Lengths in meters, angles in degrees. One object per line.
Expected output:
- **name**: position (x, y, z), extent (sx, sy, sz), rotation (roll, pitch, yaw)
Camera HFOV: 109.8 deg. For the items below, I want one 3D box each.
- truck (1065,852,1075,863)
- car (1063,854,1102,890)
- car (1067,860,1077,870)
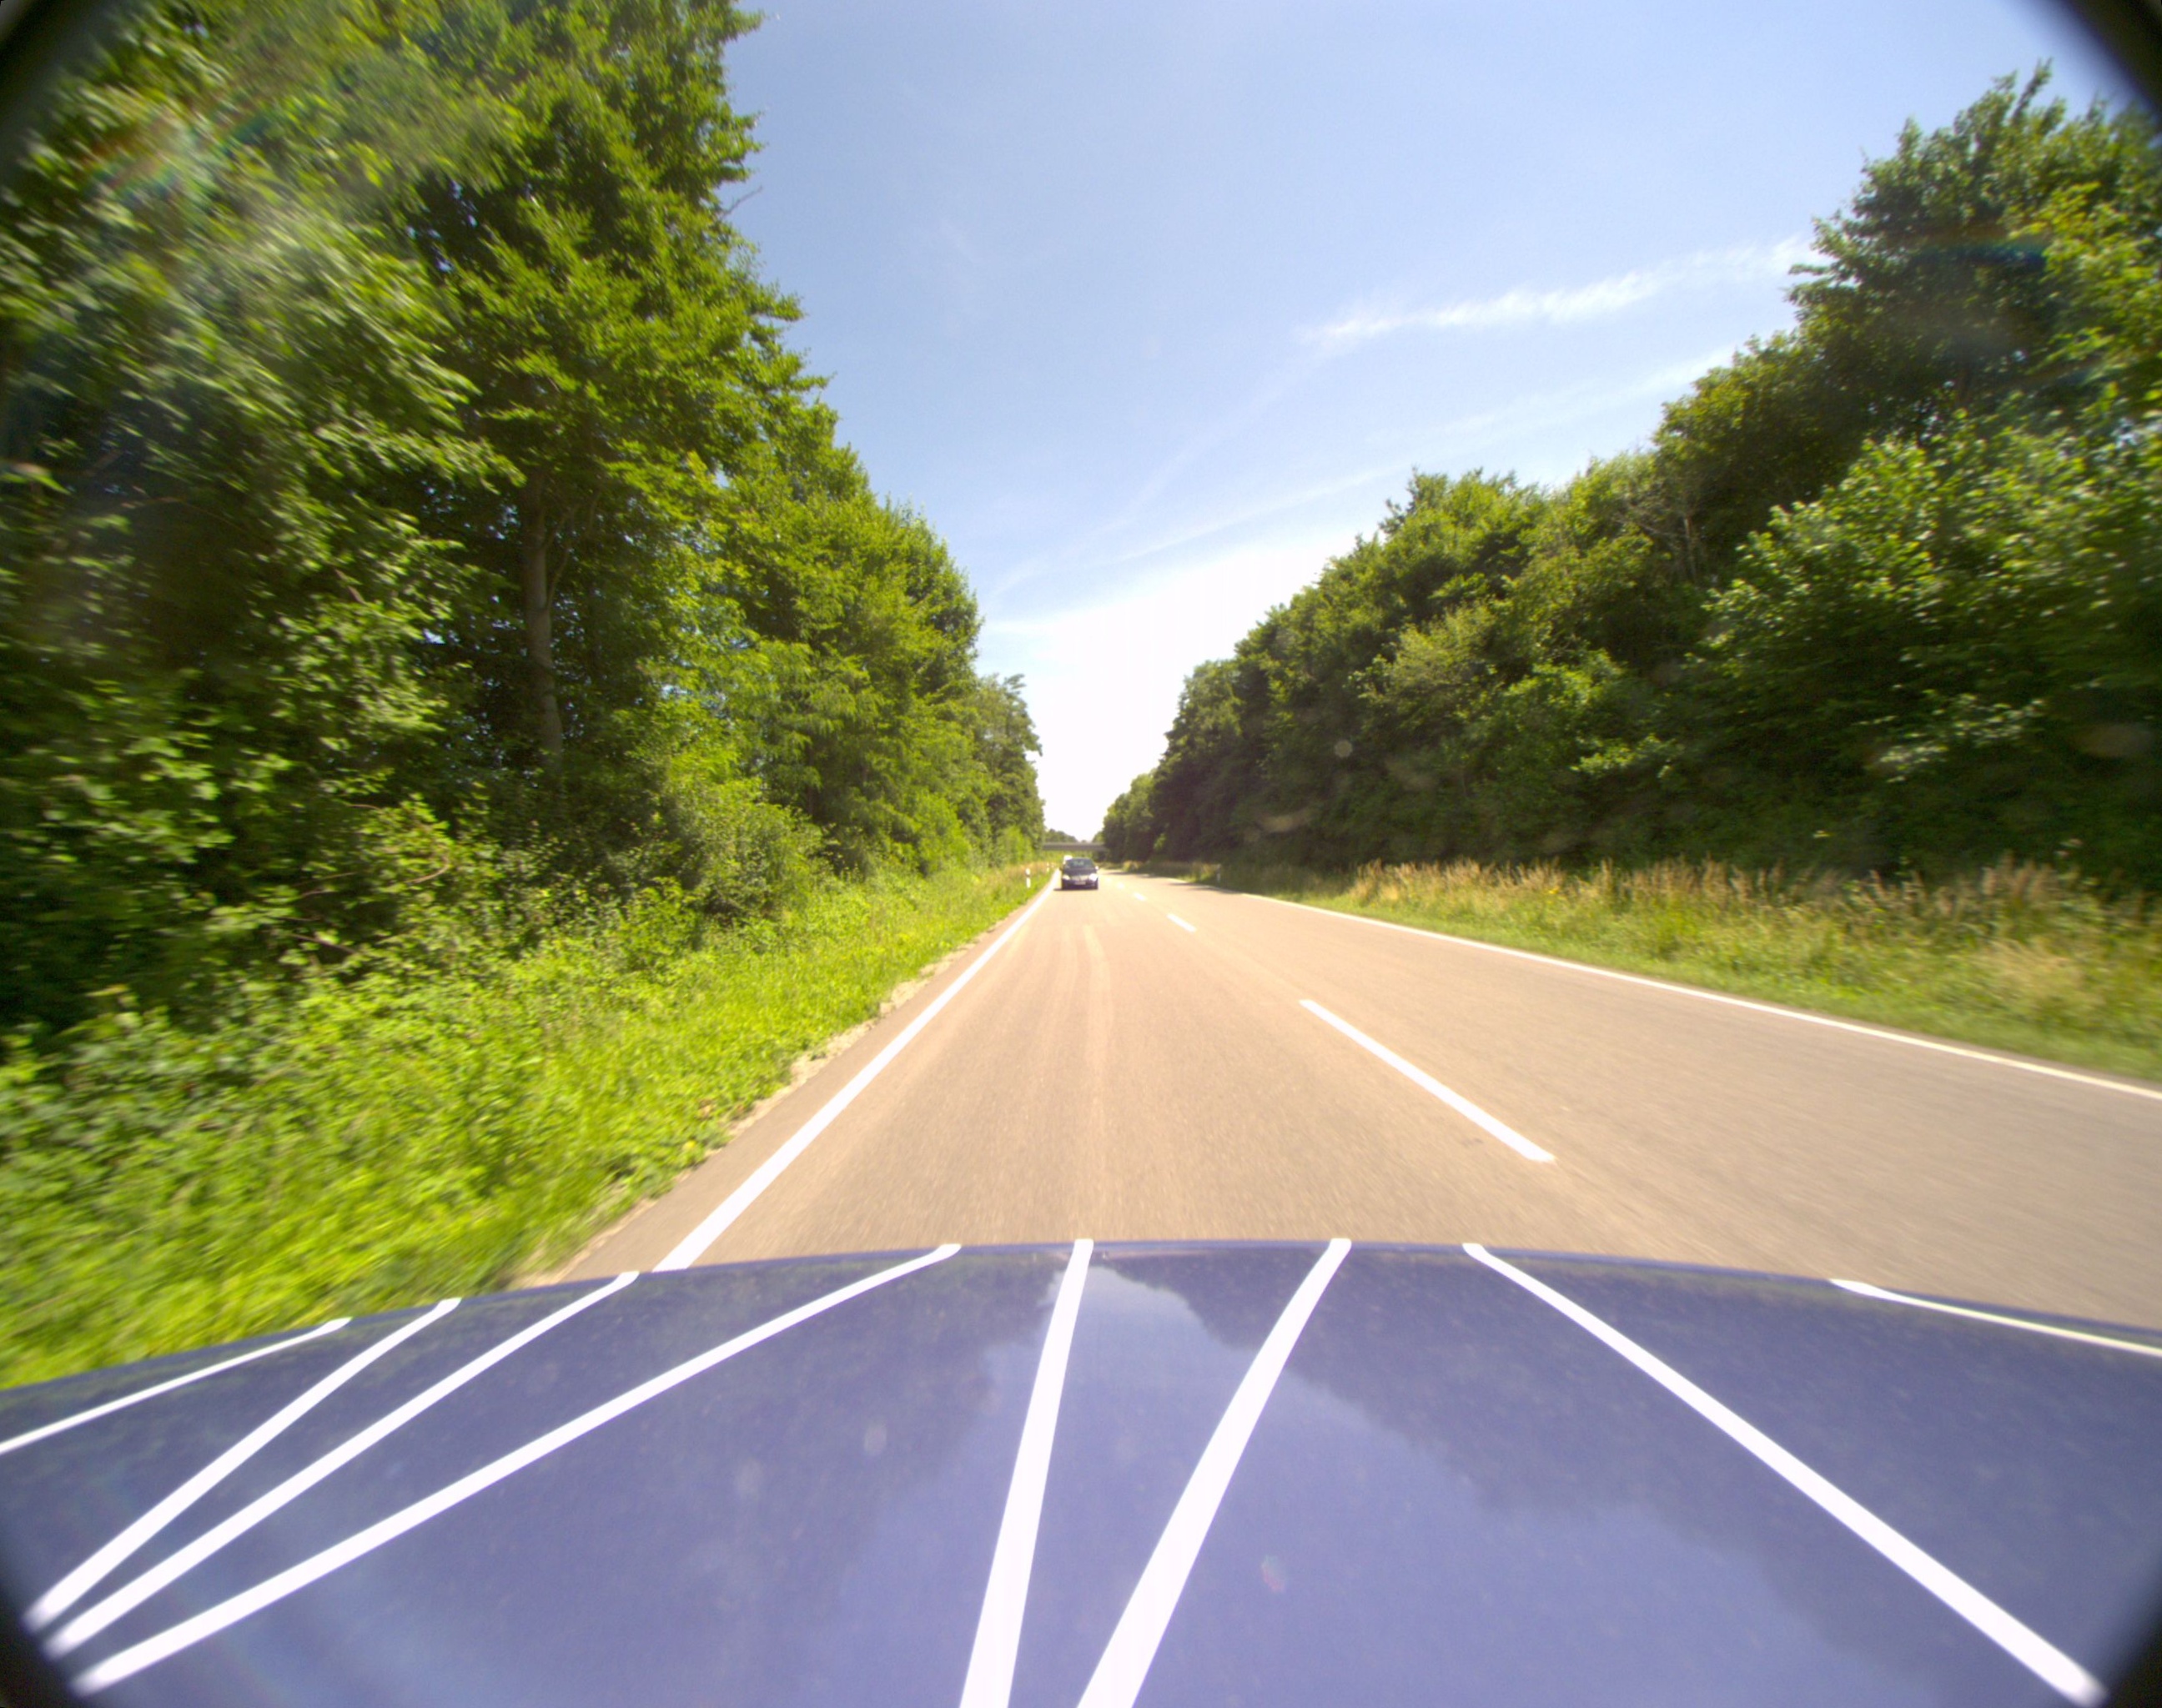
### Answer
- **truck**: position (-3.497, 1.152, 237.788), extent (2.578, 3.111, 11.195), rotation (-3, 0, -4)
- **car**: position (0.051, 0.890, 38.113), extent (1.784, 1.675, 4.779), rotation (-1, -1, 0)
- **car**: position (-1.530, 1.925, 131.341), extent (1.709, 1.524, 4.778), rotation (-2, 0, -1)
